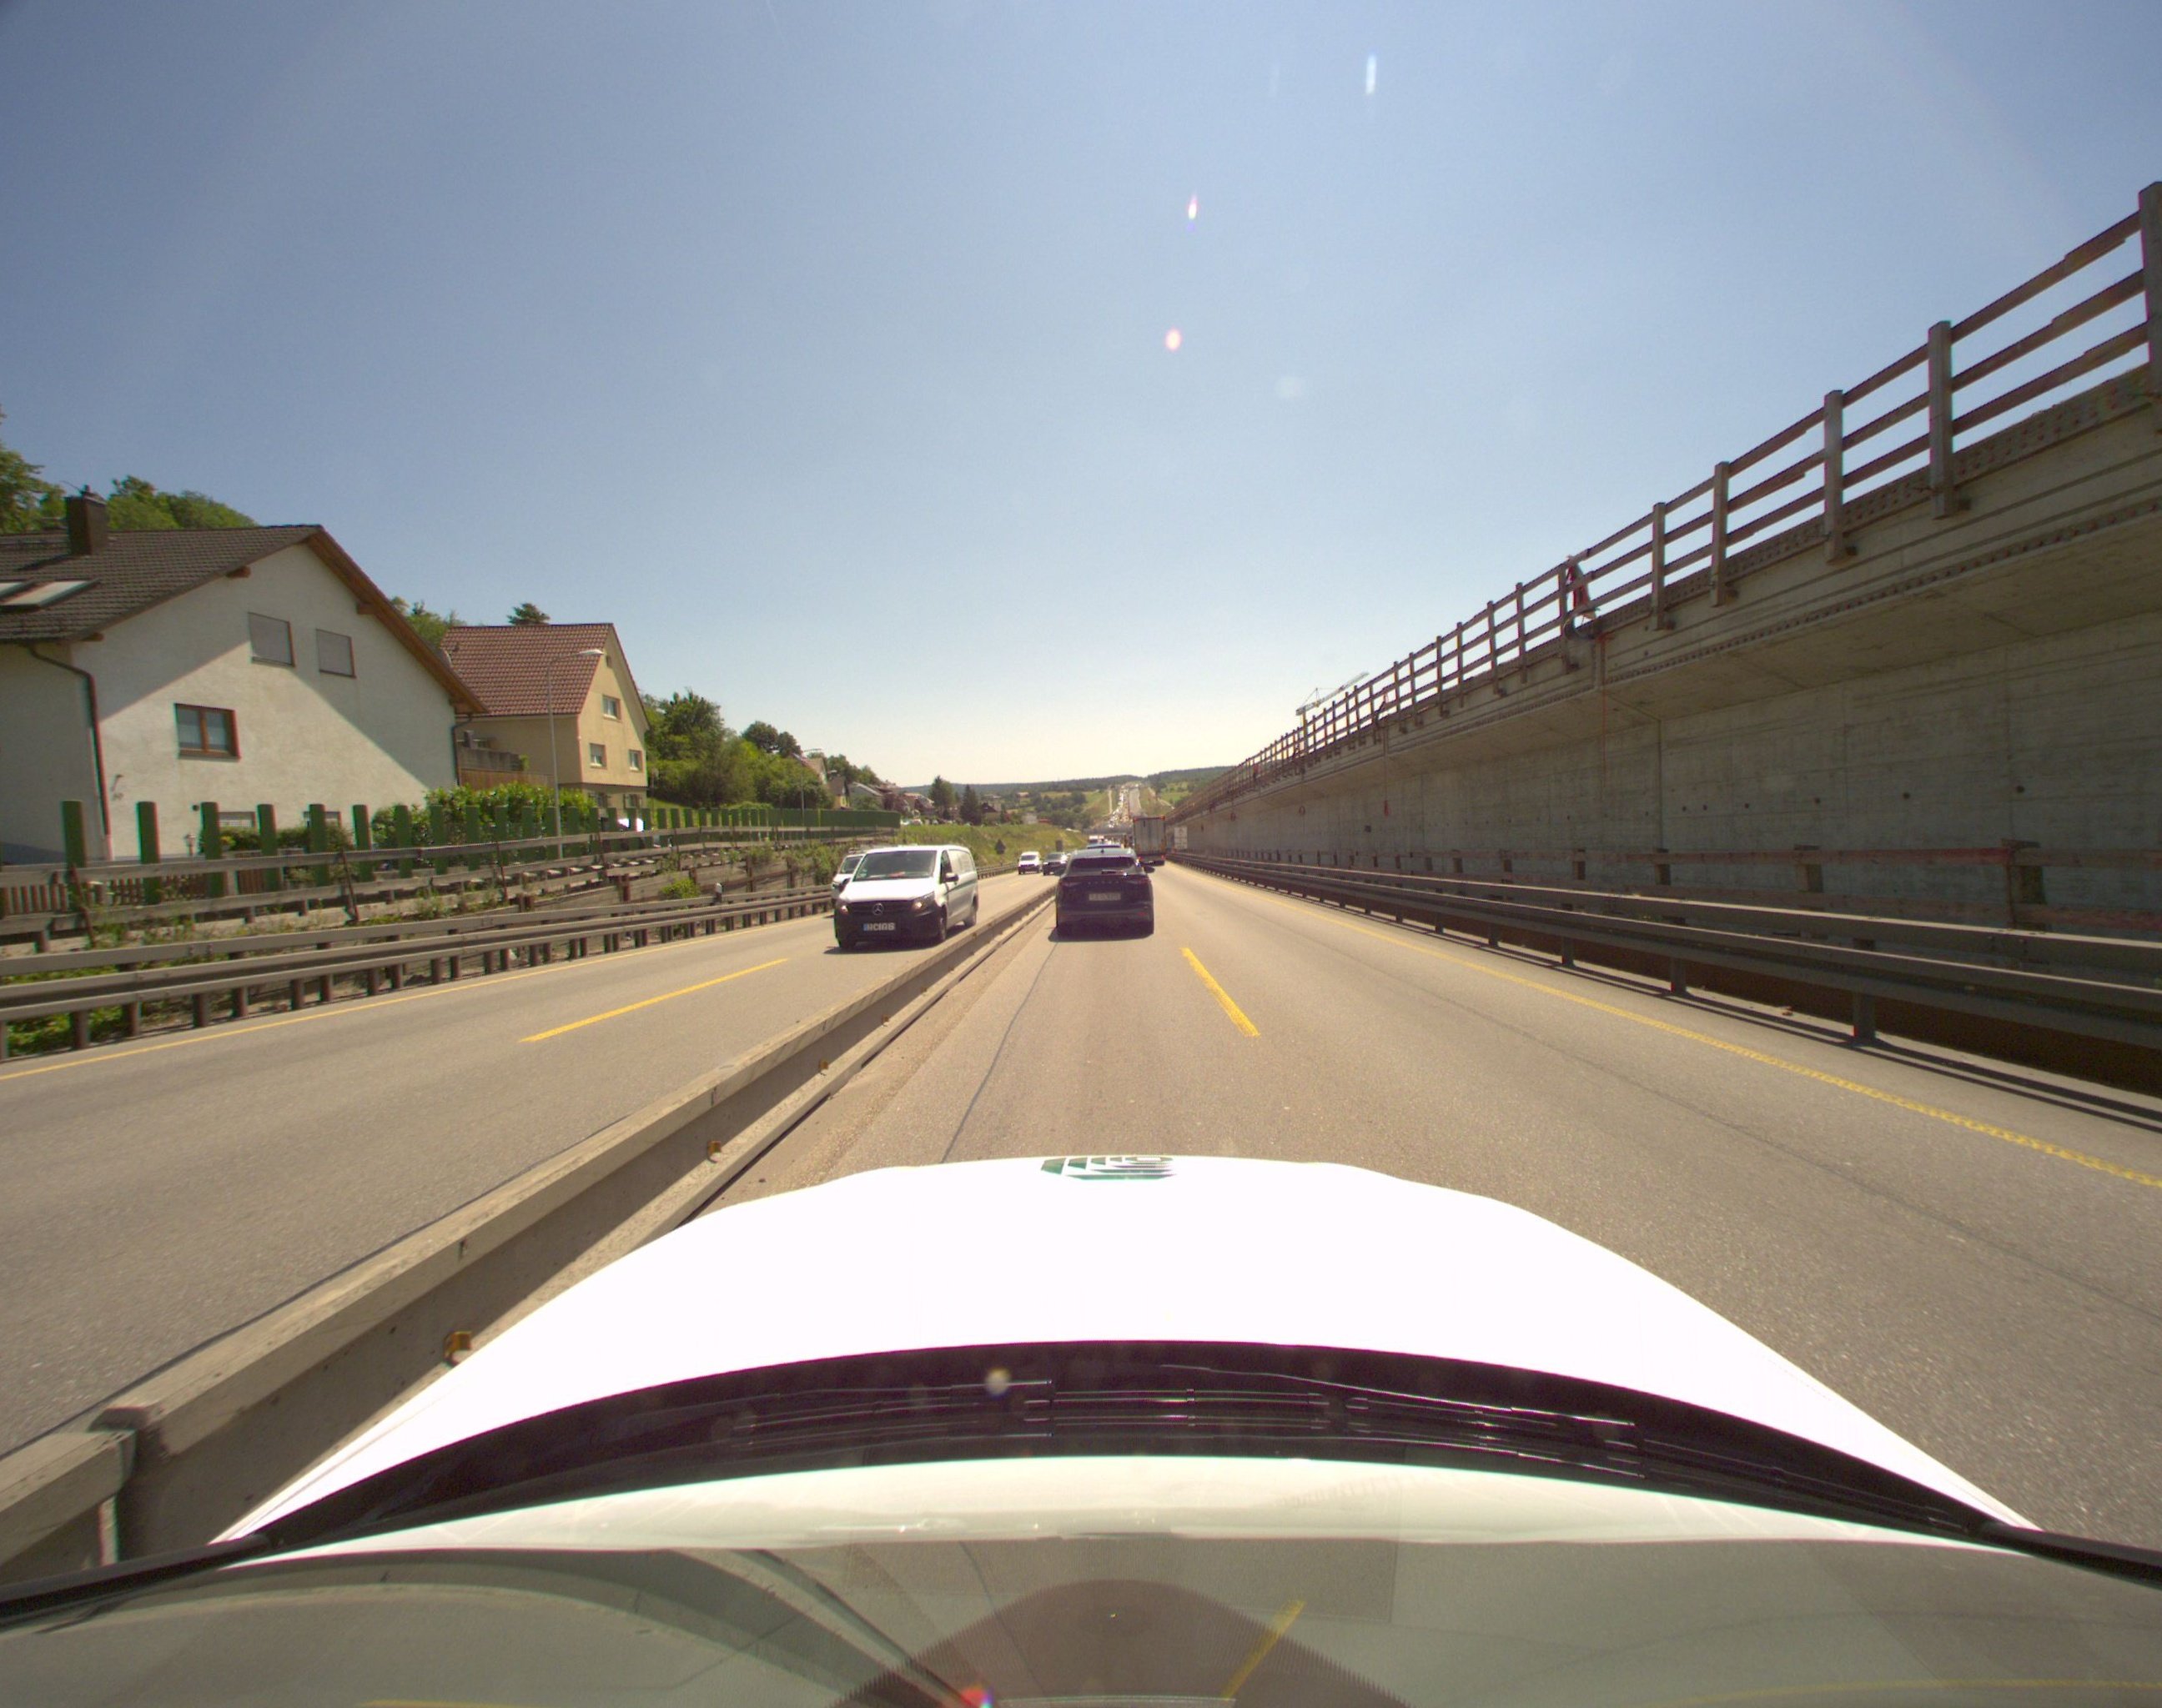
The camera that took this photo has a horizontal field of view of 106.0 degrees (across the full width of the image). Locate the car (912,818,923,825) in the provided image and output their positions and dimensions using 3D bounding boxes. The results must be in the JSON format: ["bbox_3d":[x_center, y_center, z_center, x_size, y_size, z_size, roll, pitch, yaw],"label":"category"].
[{"bbox_3d":[-33.774,-6.710,168.280,1.992,1.319,3.989,0,0,-8],"label":"car"}]

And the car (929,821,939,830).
[{"bbox_3d":[-33.903,-6.610,188.161,1.924,1.728,3.989,-4,0,-8],"label":"car"}]

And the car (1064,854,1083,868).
[{"bbox_3d":[-0.741,0.715,84.922,1.726,1.437,4.260,-2,0,1],"label":"car"}]

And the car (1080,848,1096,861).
[{"bbox_3d":[0.909,0.069,106.688,1.599,1.446,4.676,-6,-1,5],"label":"car"}]

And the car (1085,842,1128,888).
[{"bbox_3d":[1.087,0.455,35.962,1.743,1.895,3.755,-1,0,0],"label":"car"}]

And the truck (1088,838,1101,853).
[{"bbox_3d":[3.973,-2.433,240.556,3.176,4.238,6.472,-3,-1,-6],"label":"truck"}]

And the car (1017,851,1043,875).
[{"bbox_3d":[-4.245,0.741,68.756,1.590,1.833,4.755,-3,-1,2],"label":"car"}]

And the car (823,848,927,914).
[{"bbox_3d":[-6.656,0.798,26.975,1.817,1.926,5.247,-2,0,3],"label":"car"}]

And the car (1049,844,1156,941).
[{"bbox_3d":[0.432,0.678,16.169,1.776,1.597,3.756,-3,0,2],"label":"car"}]

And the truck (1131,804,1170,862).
[{"bbox_3d":[5.996,-1.673,71.780,2.834,4.615,11.820,-3,-1,3],"label":"truck"}]

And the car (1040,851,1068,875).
[{"bbox_3d":[-1.977,0.643,60.535,1.768,1.633,4.102,-2,0,2],"label":"car"}]

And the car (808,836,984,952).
[{"bbox_3d":[-3.463,0.695,16.495,2.149,1.906,5.328,-2,0,2],"label":"car"}]

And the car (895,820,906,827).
[{"bbox_3d":[-31.350,-5.319,141.135,1.277,1.038,3.271,-4,0,-3],"label":"car"}]
